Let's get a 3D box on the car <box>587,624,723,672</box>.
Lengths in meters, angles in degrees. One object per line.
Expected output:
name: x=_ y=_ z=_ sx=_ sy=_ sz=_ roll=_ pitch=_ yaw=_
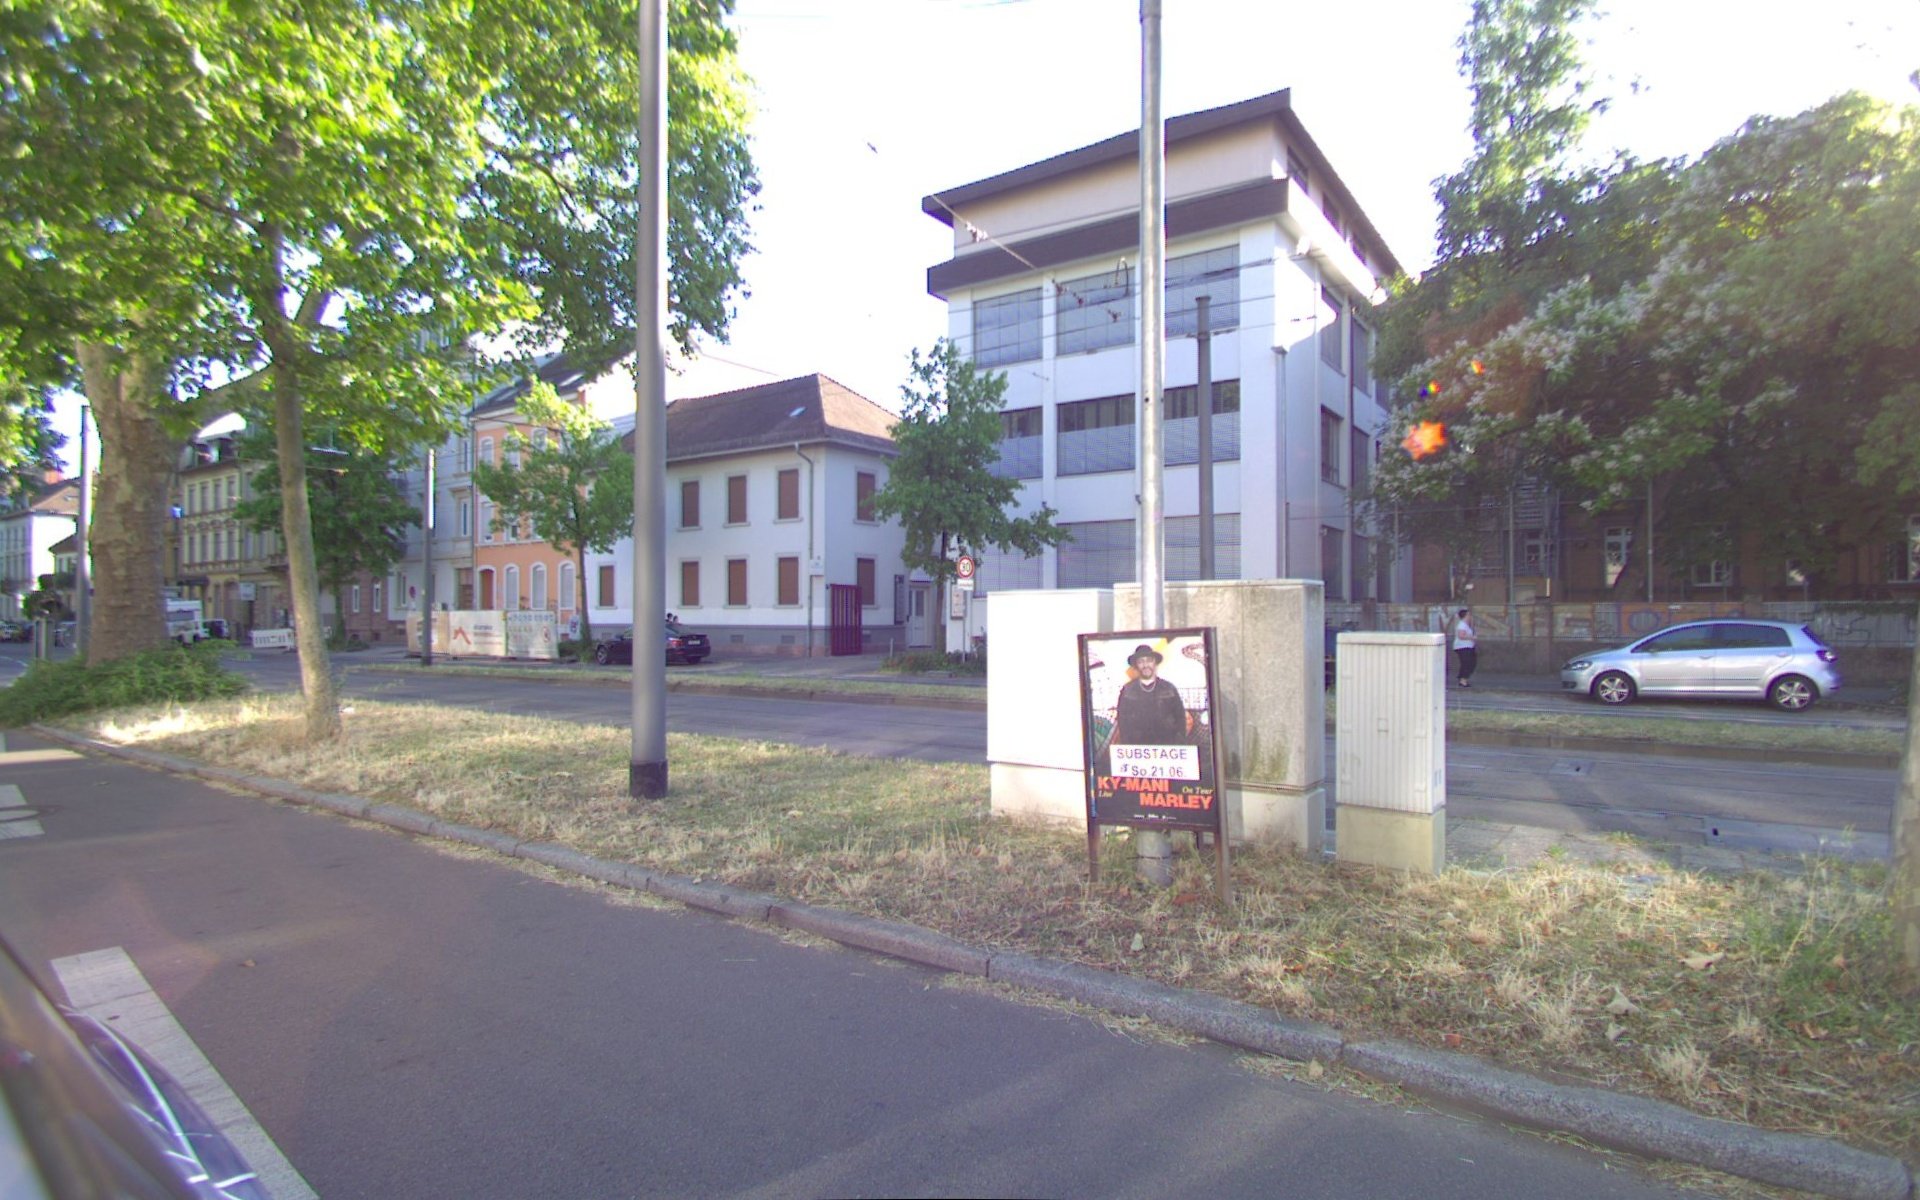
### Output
car: x=-10.582 y=1.613 z=35.030 sx=4.566 sy=1.481 sz=2.065 roll=-1 pitch=1 yaw=33

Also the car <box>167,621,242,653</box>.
car: x=-44.077 y=2.117 z=59.025 sx=4.520 sy=1.686 sz=2.065 roll=-1 pitch=1 yaw=33

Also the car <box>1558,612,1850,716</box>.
car: x=13.410 y=1.087 z=18.578 sx=4.086 sy=1.631 sz=2.065 roll=-1 pitch=1 yaw=33

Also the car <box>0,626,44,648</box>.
car: x=-73.880 y=2.863 z=79.195 sx=5.090 sy=1.551 sz=2.065 roll=-1 pitch=1 yaw=33

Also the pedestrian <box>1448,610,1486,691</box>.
pedestrian: x=10.879 y=1.073 z=21.720 sx=0.630 sy=1.677 sz=0.563 roll=-1 pitch=1 yaw=34

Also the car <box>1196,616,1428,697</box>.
car: x=7.671 y=1.162 z=22.165 sx=4.444 sy=1.513 sz=2.065 roll=-1 pitch=1 yaw=33

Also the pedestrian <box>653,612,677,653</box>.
pedestrian: x=-11.195 y=1.230 z=38.437 sx=0.708 sy=1.540 sz=0.532 roll=-1 pitch=-2 yaw=29

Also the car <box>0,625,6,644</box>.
car: x=-81.346 y=2.908 z=84.103 sx=4.027 sy=1.551 sz=2.065 roll=-1 pitch=1 yaw=33

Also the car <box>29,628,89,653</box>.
car: x=-63.468 y=2.831 z=71.269 sx=4.503 sy=1.551 sz=2.065 roll=-1 pitch=1 yaw=33

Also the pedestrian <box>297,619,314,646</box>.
pedestrian: x=-37.862 y=1.890 z=58.543 sx=0.614 sy=1.540 sz=0.634 roll=-1 pitch=-2 yaw=33

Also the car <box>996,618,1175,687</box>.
car: x=3.153 y=1.269 z=25.549 sx=3.985 sy=1.501 sz=2.065 roll=-1 pitch=1 yaw=33
